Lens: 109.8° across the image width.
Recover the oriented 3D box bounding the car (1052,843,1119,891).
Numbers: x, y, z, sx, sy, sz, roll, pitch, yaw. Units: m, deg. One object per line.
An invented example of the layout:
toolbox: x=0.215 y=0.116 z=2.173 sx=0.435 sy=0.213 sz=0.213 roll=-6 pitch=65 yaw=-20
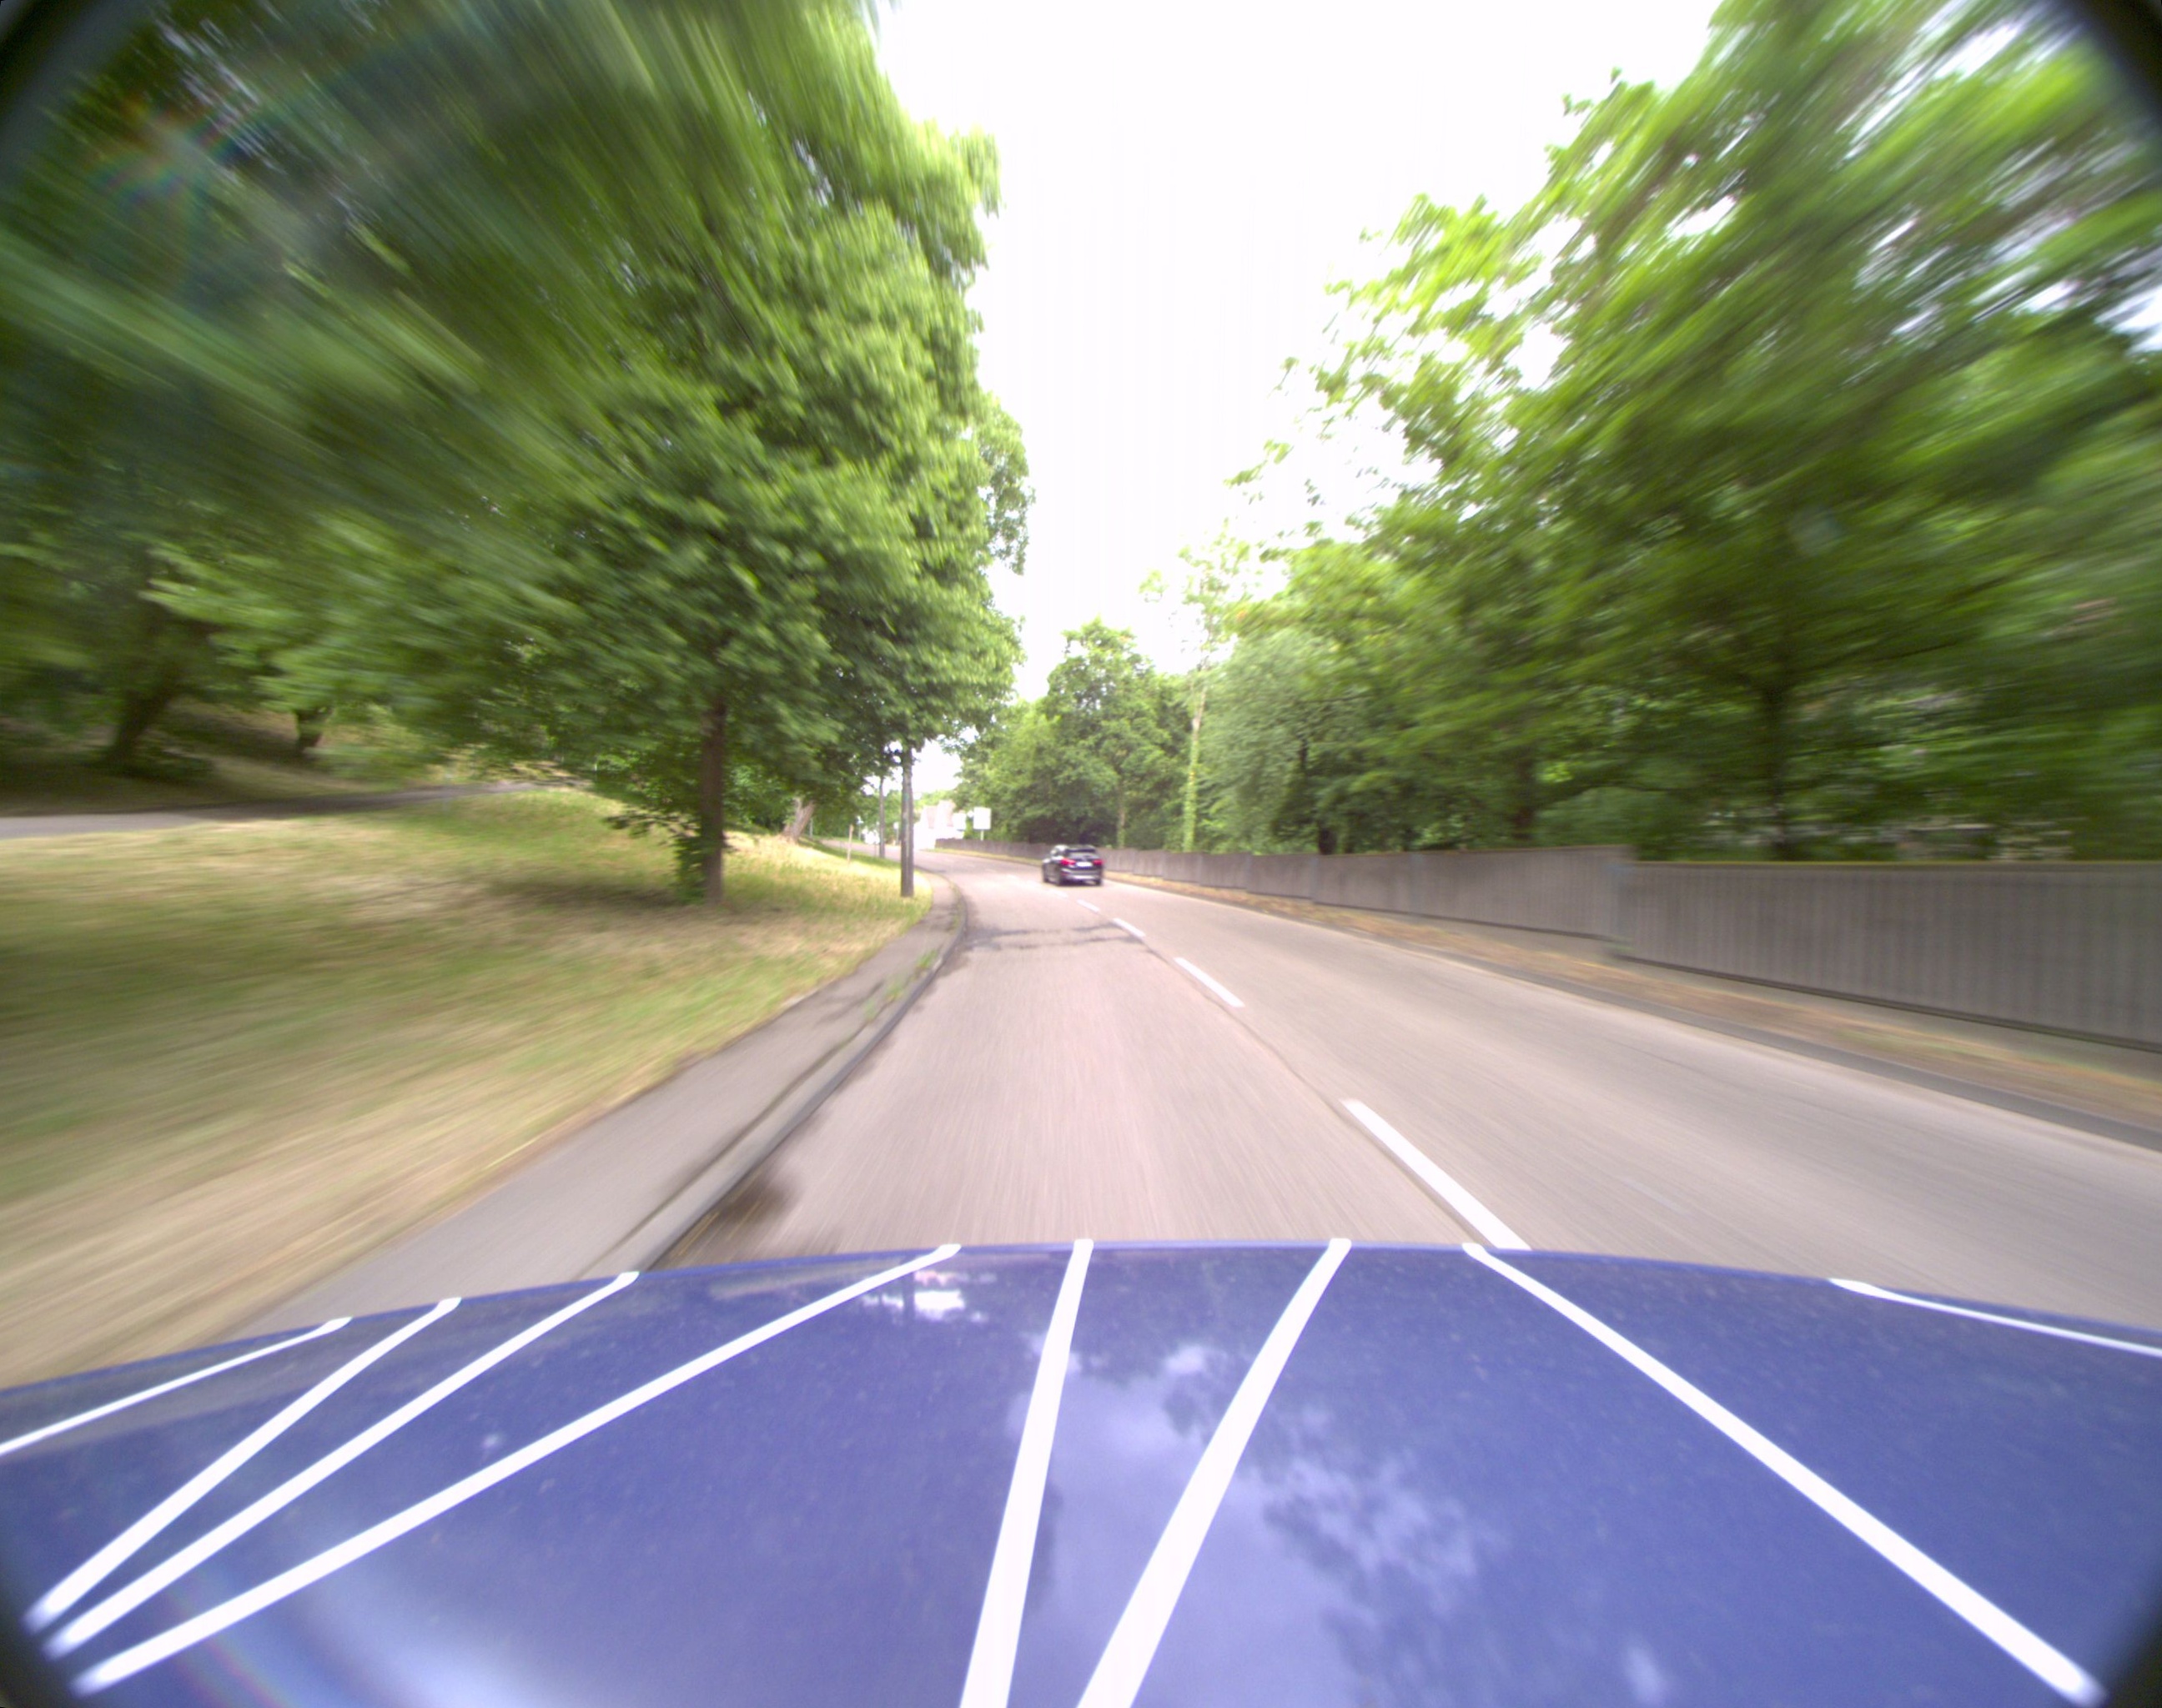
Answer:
car: x=0.100 y=0.421 z=28.610 sx=1.731 sy=1.630 sz=4.050 roll=-1 pitch=1 yaw=-11
